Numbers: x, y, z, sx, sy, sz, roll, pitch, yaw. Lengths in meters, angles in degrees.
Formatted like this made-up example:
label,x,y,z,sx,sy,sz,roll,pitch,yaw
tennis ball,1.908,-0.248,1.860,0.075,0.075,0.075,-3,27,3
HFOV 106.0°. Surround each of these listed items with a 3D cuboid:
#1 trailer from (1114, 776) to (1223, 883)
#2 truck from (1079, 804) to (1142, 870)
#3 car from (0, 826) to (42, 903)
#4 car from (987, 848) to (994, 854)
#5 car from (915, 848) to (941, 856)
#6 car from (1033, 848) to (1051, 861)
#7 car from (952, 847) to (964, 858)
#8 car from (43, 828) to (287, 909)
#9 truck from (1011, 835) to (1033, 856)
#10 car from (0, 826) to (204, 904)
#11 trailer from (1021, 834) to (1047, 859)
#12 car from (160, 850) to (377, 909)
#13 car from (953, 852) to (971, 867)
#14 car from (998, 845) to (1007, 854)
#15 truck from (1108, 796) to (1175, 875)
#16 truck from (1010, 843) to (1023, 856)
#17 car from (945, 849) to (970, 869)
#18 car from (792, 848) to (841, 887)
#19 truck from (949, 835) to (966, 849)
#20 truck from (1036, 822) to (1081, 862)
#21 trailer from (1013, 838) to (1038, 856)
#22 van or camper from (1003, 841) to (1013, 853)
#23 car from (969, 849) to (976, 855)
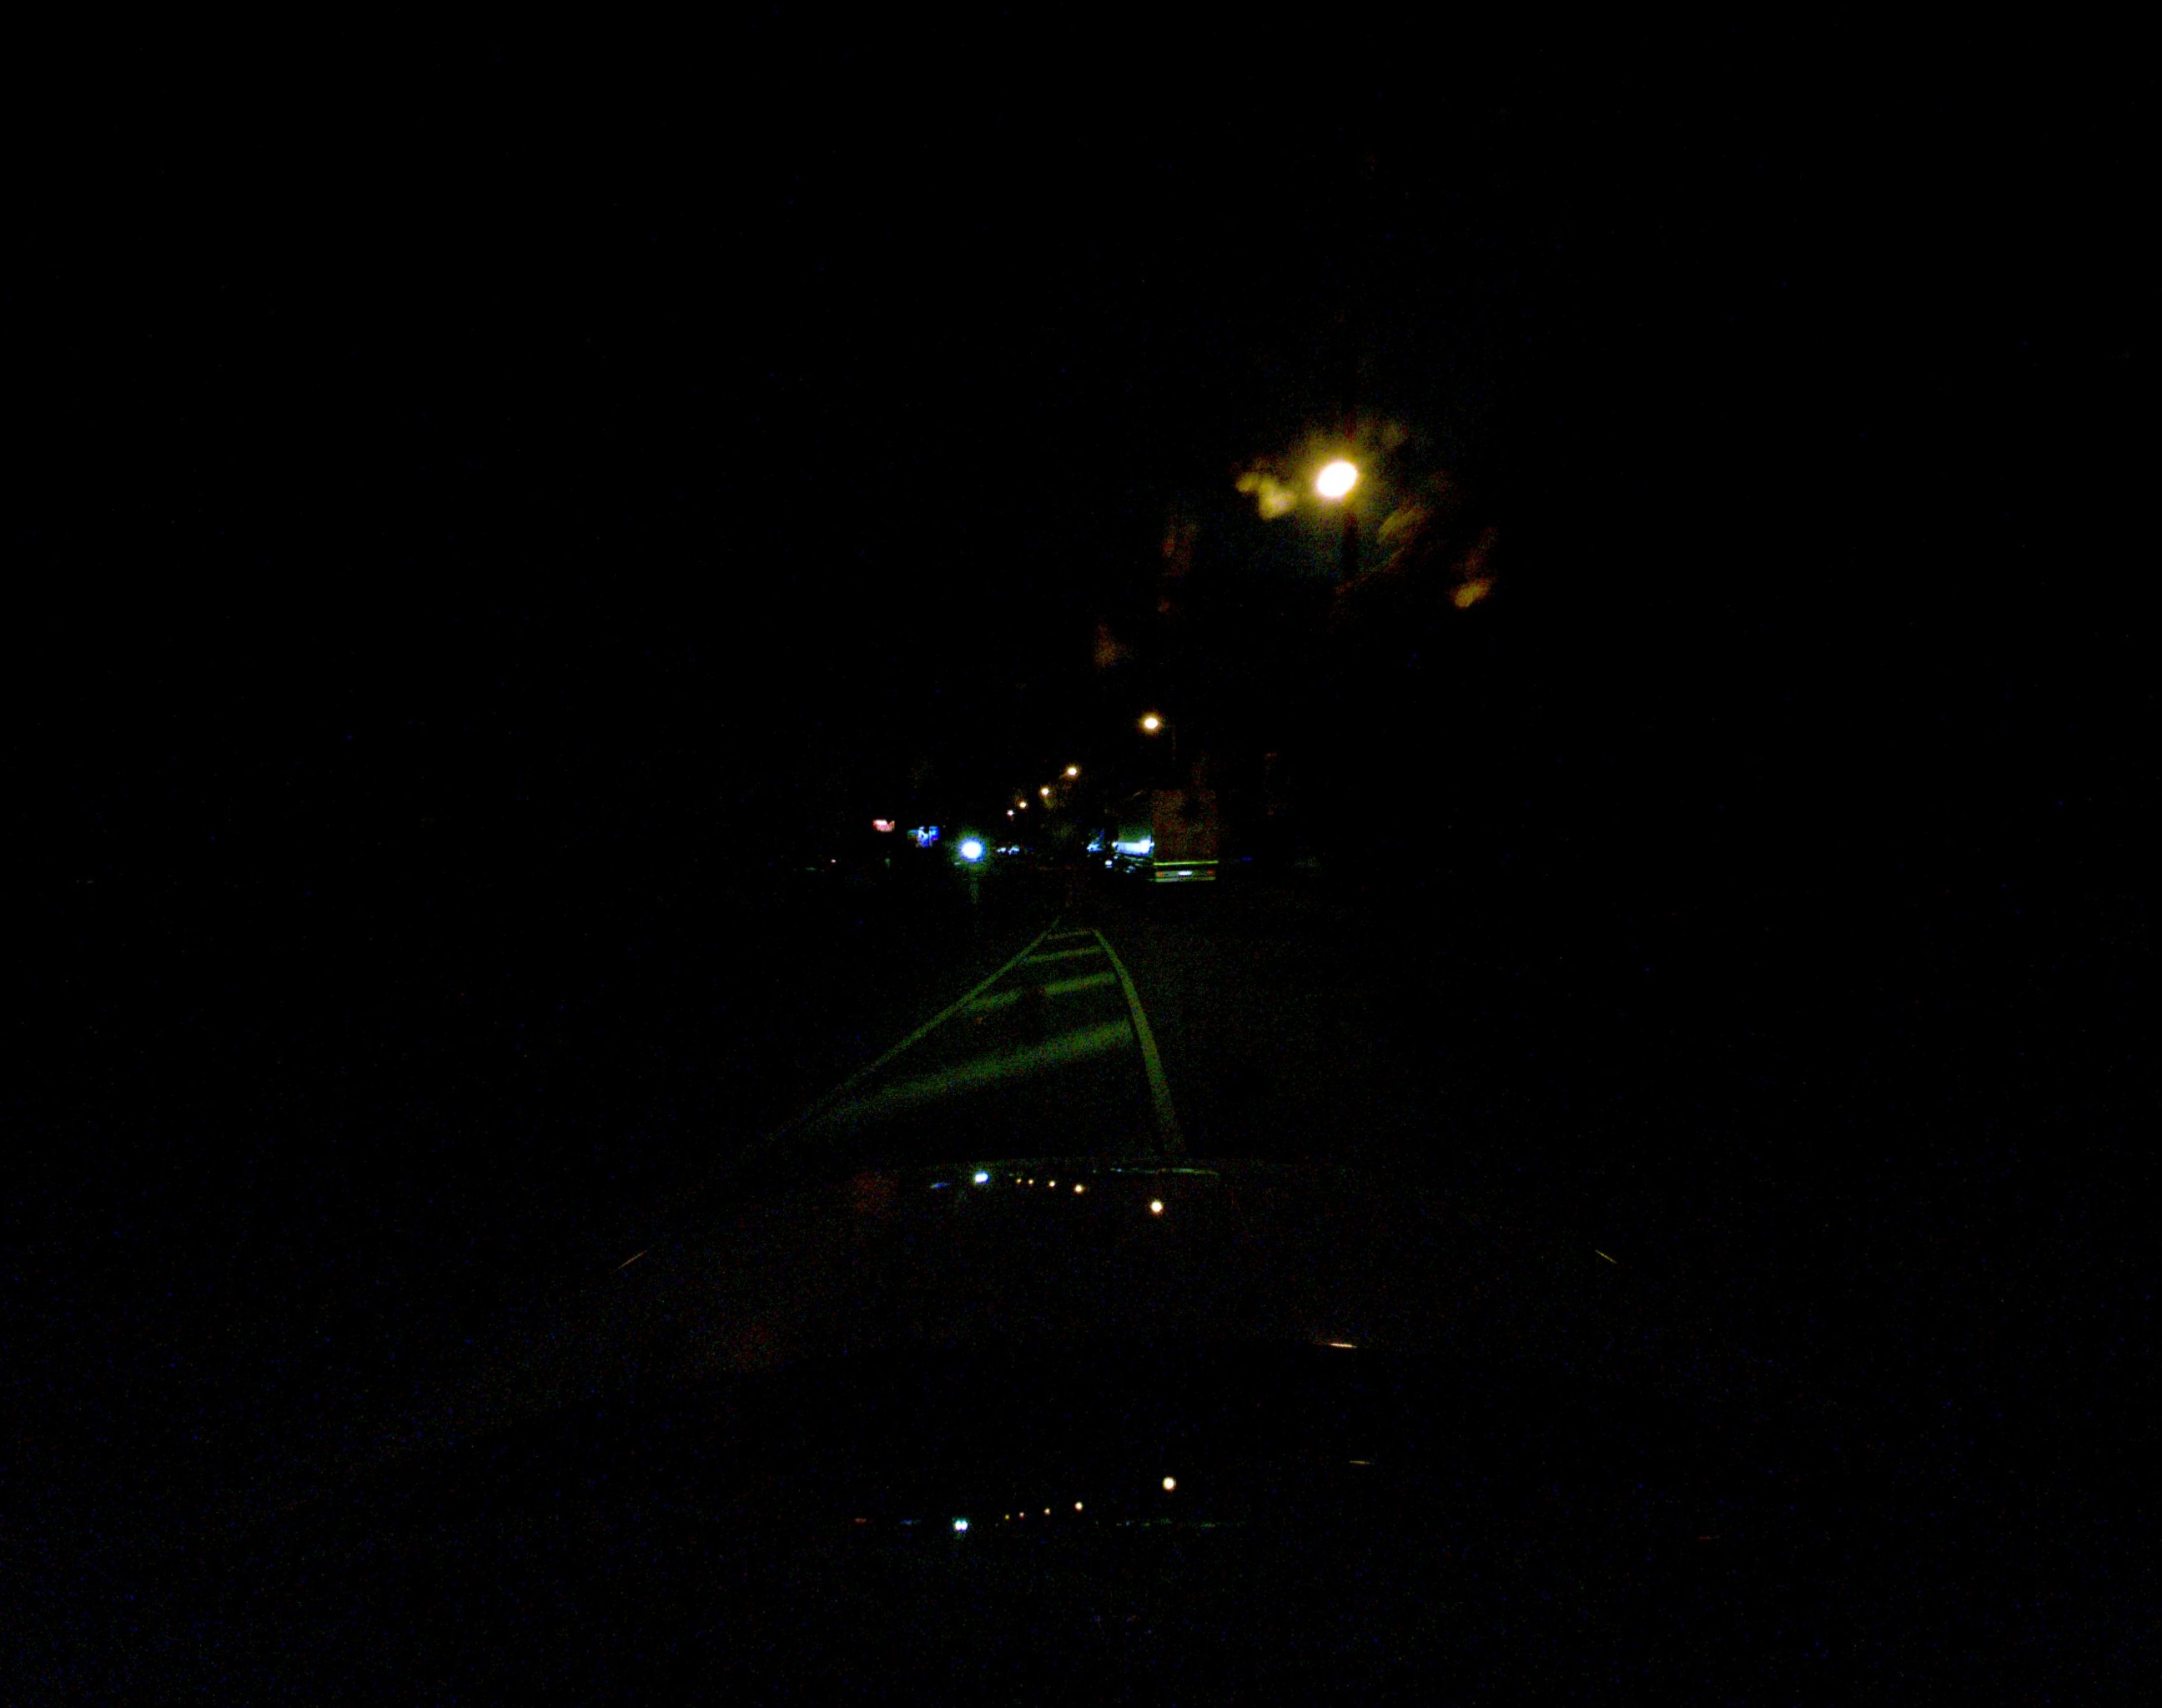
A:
label,x,y,z,sx,sy,sz,roll,pitch,yaw
trailer,3.639,-0.955,38.116,2.802,3.983,13.959,-2,0,-3
truck,1.819,-1.034,55.342,2.826,3.983,10.322,-2,0,-5
car,-32.032,0.318,21.850,2.021,2.235,5.390,0,0,-10
car,-27.028,-0.887,242.774,1.992,1.684,3.989,0,1,-8
car,-30.139,-0.422,160.099,4.643,1.485,1.980,-1,1,-31
car,-5.019,0.042,104.072,1.851,1.519,3.808,-2,0,-8
car,-21.919,-0.308,144.973,1.992,1.794,3.989,0,0,-8
car,-24.985,0.353,22.547,1.994,2.013,4.671,0,0,-11
truck,-10.172,-1.448,139.778,3.150,3.463,6.654,-2,0,-8
car,-28.501,0.285,22.524,2.238,2.004,5.421,0,0,8
trailer,-6.789,-1.053,116.619,2.687,3.464,7.780,0,0,-11
car,-22.406,0.634,22.778,1.840,1.464,4.605,0,0,-7
car,-10.926,0.469,74.631,1.601,1.354,3.988,0,1,-9
car,-18.566,-1.116,193.270,1.992,2.145,3.989,0,0,-8
truck,3.263,-0.962,45.197,2.824,3.983,6.043,-2,0,-3
truck,-12.023,-0.799,151.768,1.992,2.407,5.278,0,0,-8
car,-10.521,0.406,69.155,1.993,1.636,4.758,0,0,-10
car,-11.114,0.505,34.339,1.832,1.494,4.502,-1,1,-17
truck,-33.533,-3.203,220.751,3.895,3.621,8.222,-1,1,-13
truck,-2.545,-1.183,88.556,3.519,3.983,10.311,-2,0,-9
trailer,-9.148,-1.090,132.730,3.183,2.749,10.684,-2,0,-8
van or camper,-15.512,-1.499,173.158,1.992,2.581,4.902,0,0,-7
car,-30.709,-0.584,229.781,1.992,1.398,3.989,-1,1,-8
